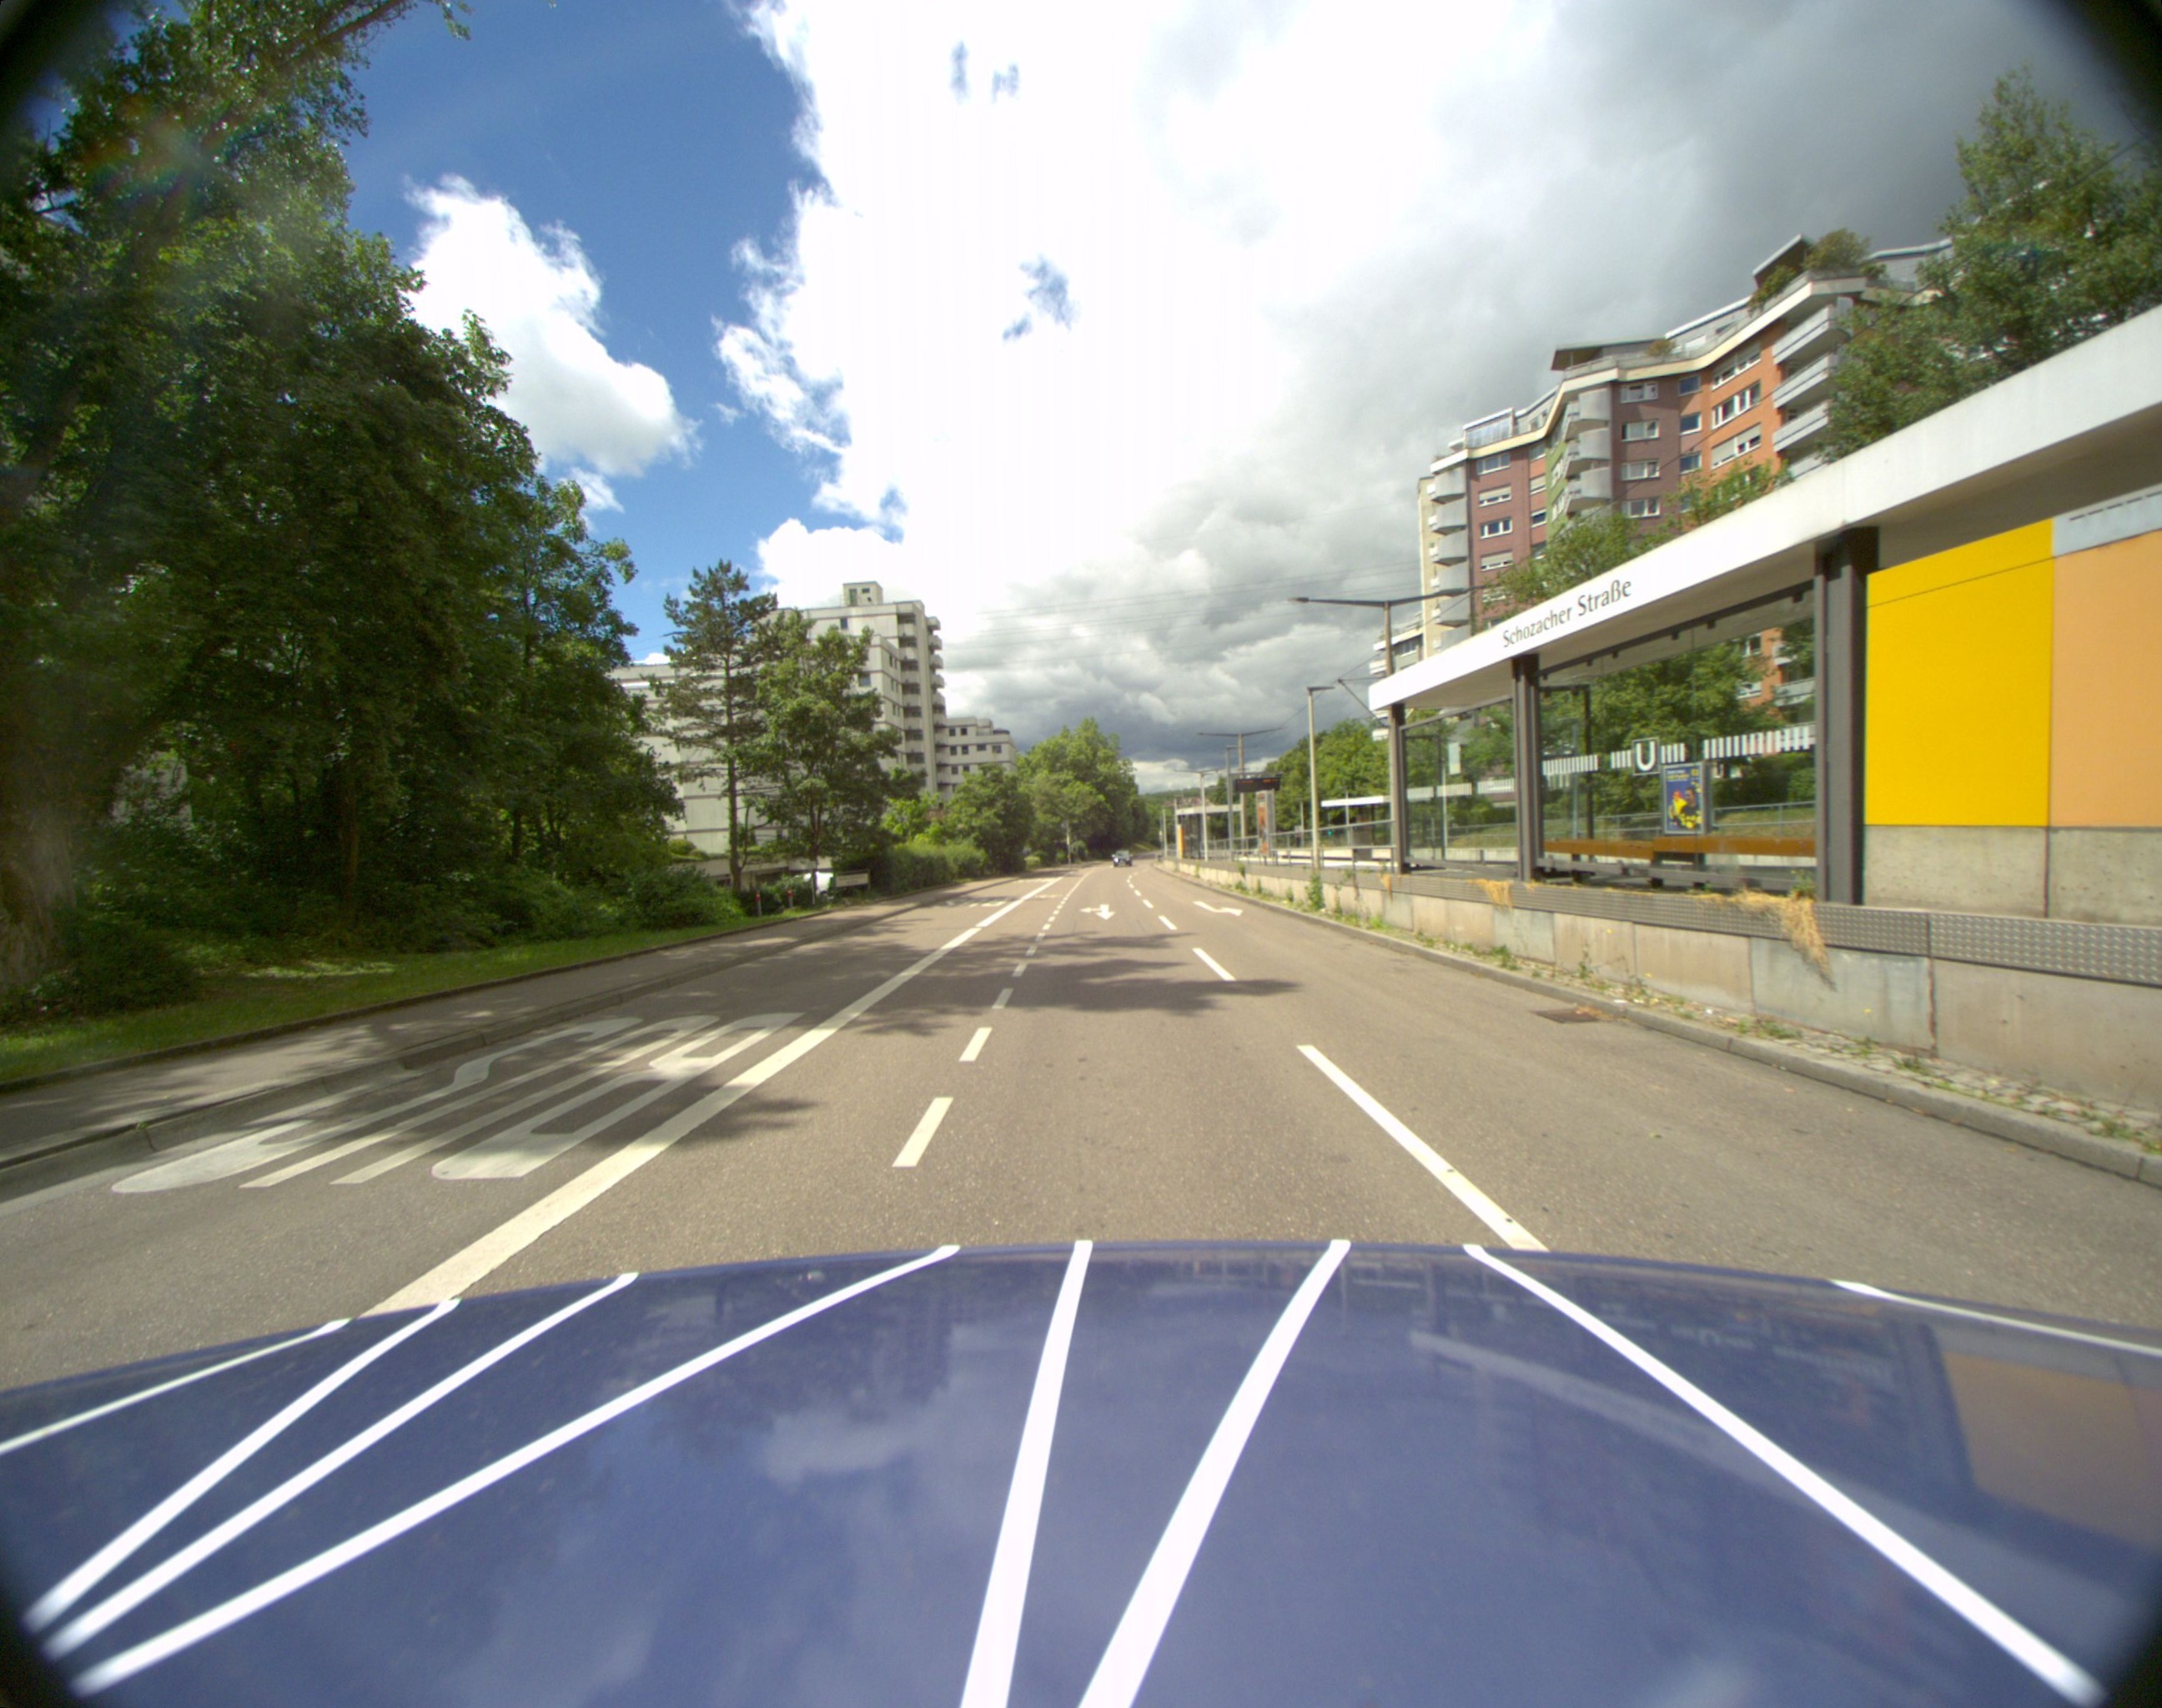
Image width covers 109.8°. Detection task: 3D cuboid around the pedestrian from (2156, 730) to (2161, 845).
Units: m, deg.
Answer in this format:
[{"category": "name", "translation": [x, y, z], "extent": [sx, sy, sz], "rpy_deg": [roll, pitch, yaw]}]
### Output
[{"category": "pedestrian", "translation": [15.764, -0.958, 10.778], "extent": [0.522, 1.635, 0.563], "rpy_deg": [-3, 1, -31]}]

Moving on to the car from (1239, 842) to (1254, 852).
[{"category": "car", "translation": [24.442, -1.046, 112.548], "extent": [1.658, 1.504, 3.738], "rpy_deg": [-2, 1, 5]}]

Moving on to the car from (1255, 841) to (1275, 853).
[{"category": "car", "translation": [23.166, -0.882, 95.804], "extent": [1.658, 1.410, 4.000], "rpy_deg": [-2, 1, 1]}]

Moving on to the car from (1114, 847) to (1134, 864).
[{"category": "car", "translation": [4.070, 0.128, 72.190], "extent": [1.736, 1.477, 3.817], "rpy_deg": [-2, 1, 5]}]
